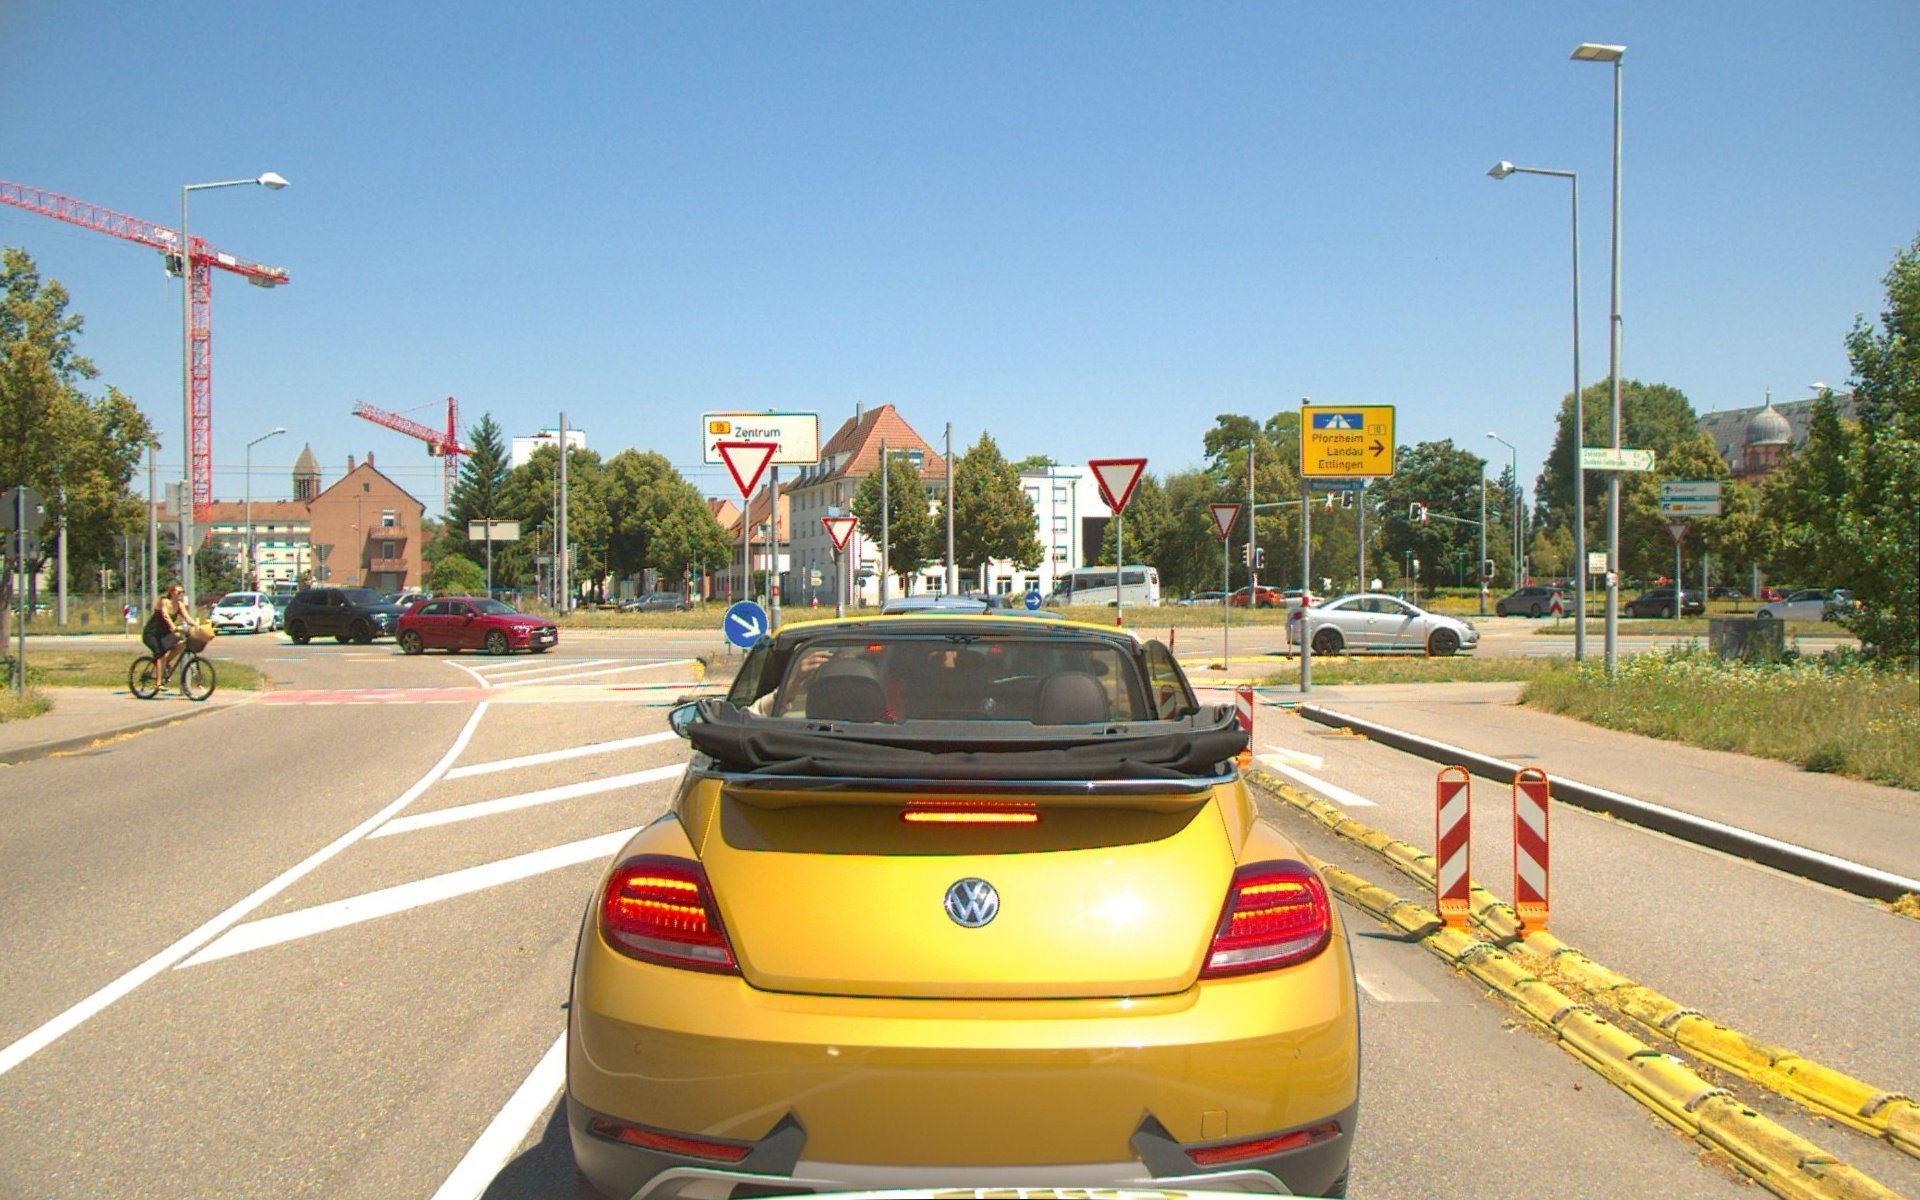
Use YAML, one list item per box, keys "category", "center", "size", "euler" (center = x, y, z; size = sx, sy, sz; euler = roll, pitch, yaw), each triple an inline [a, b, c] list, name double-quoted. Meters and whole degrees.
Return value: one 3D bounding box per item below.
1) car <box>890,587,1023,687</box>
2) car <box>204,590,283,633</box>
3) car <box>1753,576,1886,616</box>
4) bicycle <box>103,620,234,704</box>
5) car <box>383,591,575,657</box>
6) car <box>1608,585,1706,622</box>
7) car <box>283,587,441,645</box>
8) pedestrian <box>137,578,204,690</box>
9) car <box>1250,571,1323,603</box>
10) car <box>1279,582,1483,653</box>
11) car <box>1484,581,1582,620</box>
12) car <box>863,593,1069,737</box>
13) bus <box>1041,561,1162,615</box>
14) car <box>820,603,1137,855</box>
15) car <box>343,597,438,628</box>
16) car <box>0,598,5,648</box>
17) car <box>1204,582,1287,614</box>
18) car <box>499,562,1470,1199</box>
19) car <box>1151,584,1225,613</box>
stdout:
- category: "car"
  center: [-0.087, 0.547, 27.652]
  size: [2.023, 1.506, 4.542]
  euler: [-1, 0, -1]
- category: "car"
  center: [-27.158, 0.420, 62.792]
  size: [1.742, 1.554, 3.866]
  euler: [-1, 0, -7]
- category: "car"
  center: [31.680, -0.139, 61.099]
  size: [1.722, 1.395, 4.303]
  euler: [1, 0, -21]
- category: "bicycle"
  center: [-12.362, 0.967, 25.852]
  size: [1.803, 1.253, 0.614]
  euler: [-2, -1, 10]
- category: "car"
  center: [-12.244, 0.586, 42.127]
  size: [4.313, 1.554, 2.001]
  euler: [1, 0, 18]
- category: "car"
  center: [34.434, 0.152, 81.823]
  size: [1.820, 1.766, 4.407]
  euler: [1, 0, -26]
- category: "car"
  center: [-17.889, 0.467, 49.445]
  size: [4.319, 1.623, 1.998]
  euler: [1, 0, 27]
- category: "pedestrian"
  center: [-12.338, 0.531, 25.867]
  size: [0.717, 1.721, 0.575]
  euler: [1, -1, 9]
- category: "car"
  center: [19.383, -0.763, 98.276]
  size: [3.912, 1.803, 1.783]
  euler: [1, 0, 30]
- category: "car"
  center: [9.664, 0.394, 38.235]
  size: [4.311, 1.554, 2.001]
  euler: [-1, 0, 5]
- category: "car"
  center: [27.147, 0.014, 78.440]
  size: [1.820, 1.766, 4.407]
  euler: [1, 0, -26]
- category: "car"
  center: [0.031, 0.657, 18.586]
  size: [2.023, 1.406, 4.257]
  euler: [1, 0, -1]
- category: "bus"
  center: [8.783, -0.769, 102.954]
  size: [7.105, 3.228, 2.261]
  euler: [1, 0, 22]
- category: "car"
  center: [0.078, 0.748, 11.671]
  size: [1.814, 1.389, 4.257]
  euler: [-1, 0, -1]
- category: "car"
  center: [-26.897, 0.592, 78.229]
  size: [1.693, 1.427, 4.267]
  euler: [1, 0, 26]
- category: "car"
  center: [-32.374, 0.721, 53.726]
  size: [1.711, 1.579, 4.283]
  euler: [-1, 1, -38]
- category: "car"
  center: [16.398, -0.101, 95.189]
  size: [4.352, 1.766, 1.843]
  euler: [1, 0, 33]
- category: "car"
  center: [0.018, 0.708, 5.097]
  size: [1.729, 1.507, 4.257]
  euler: [1, 0, -1]
- category: "car"
  center: [14.736, -0.081, 106.907]
  size: [4.342, 1.766, 1.847]
  euler: [1, 0, 25]
